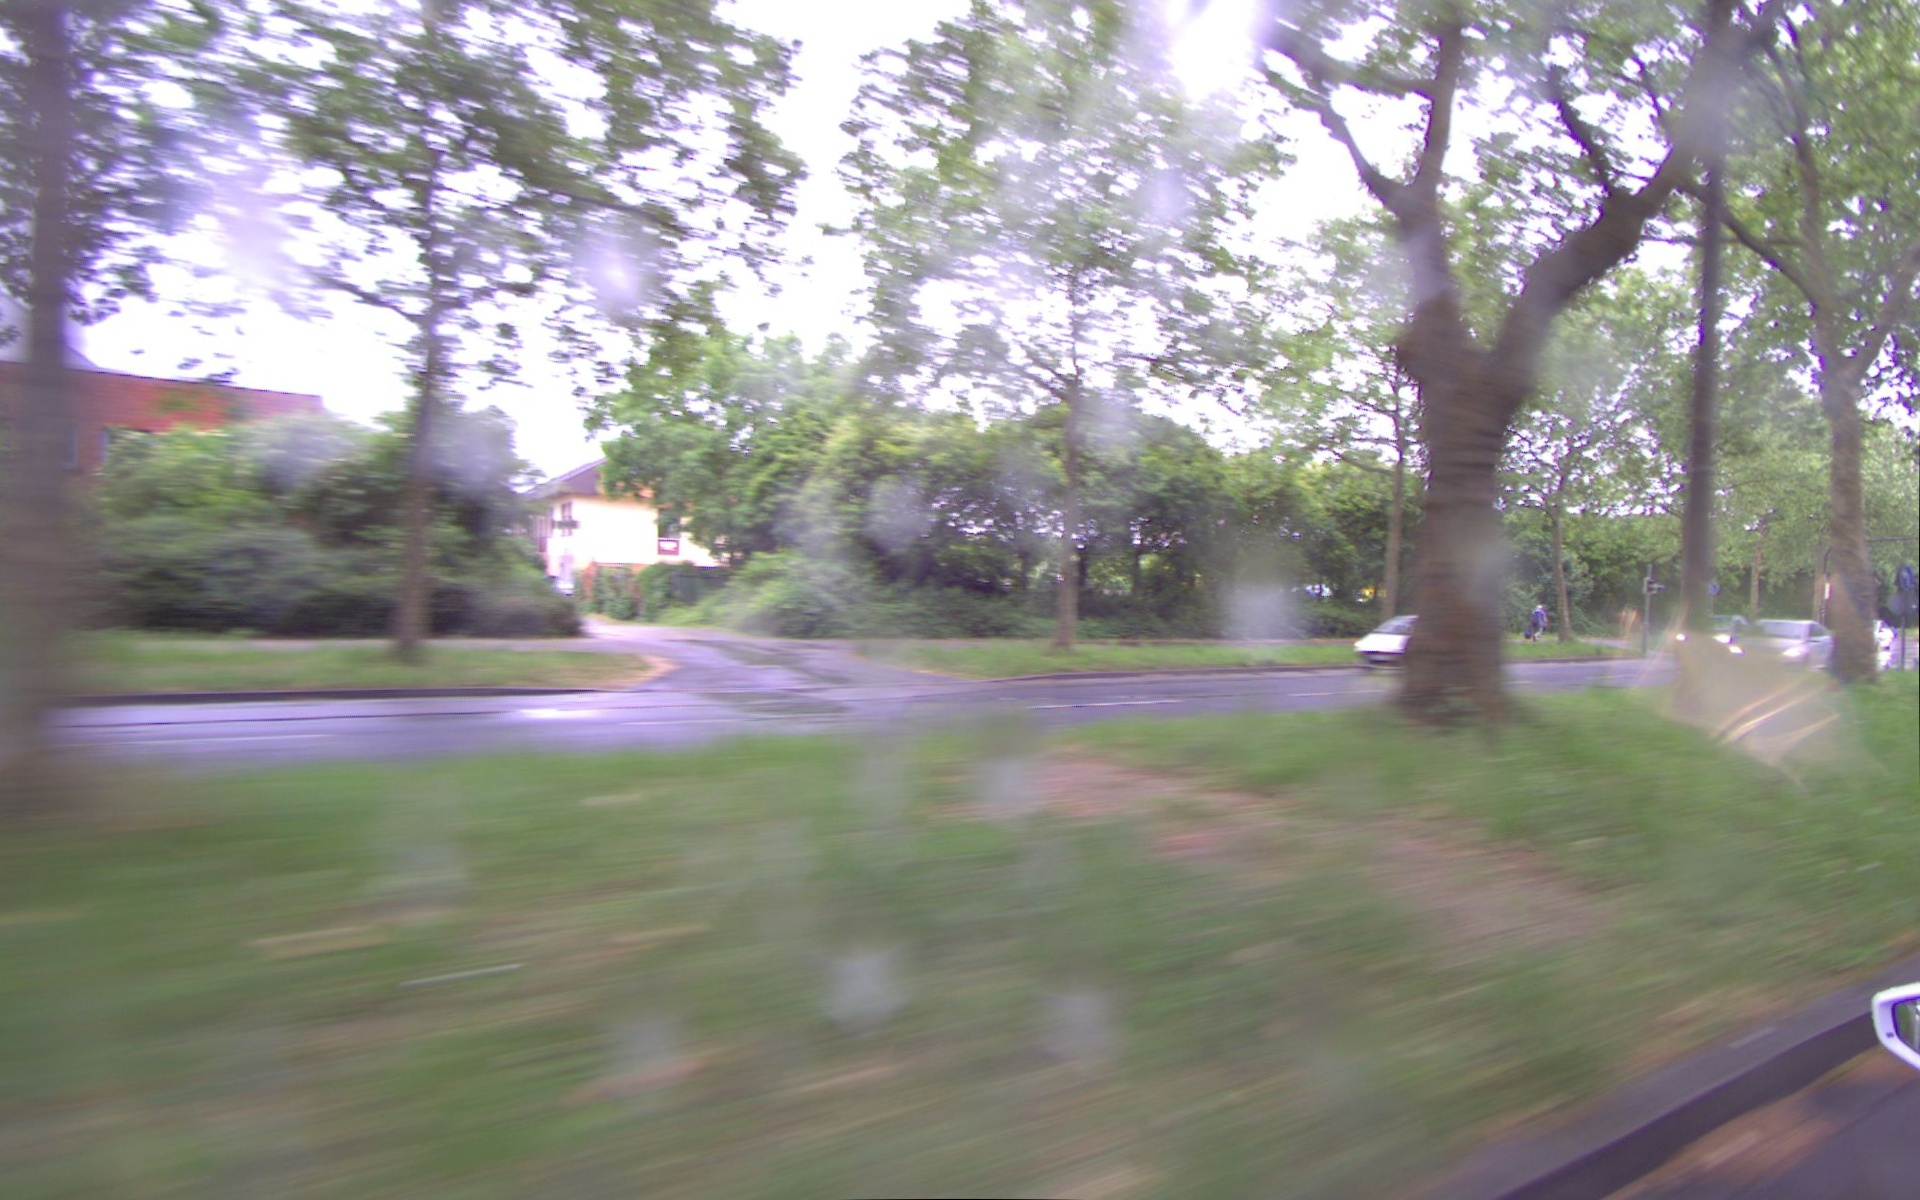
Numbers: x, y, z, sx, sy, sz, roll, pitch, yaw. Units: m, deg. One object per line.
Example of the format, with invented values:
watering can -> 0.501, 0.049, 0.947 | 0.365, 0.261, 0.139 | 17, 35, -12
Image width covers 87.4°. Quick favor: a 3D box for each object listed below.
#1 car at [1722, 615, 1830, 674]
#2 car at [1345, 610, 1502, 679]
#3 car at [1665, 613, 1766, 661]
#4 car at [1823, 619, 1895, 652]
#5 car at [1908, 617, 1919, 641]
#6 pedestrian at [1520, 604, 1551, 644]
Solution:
car -> 24.589, 1.298, 30.217 | 4.295, 1.612, 1.728 | 1, 1, -41
car -> 11.329, 1.043, 24.485 | 4.044, 1.496, 1.731 | 2, 1, -37
car -> 27.728, 1.353, 36.840 | 4.168, 1.612, 1.732 | 2, 1, -35
car -> 44.926, 1.776, 50.163 | 4.192, 1.496, 1.732 | 2, 1, -35
car -> 61.455, 1.861, 63.233 | 4.192, 1.496, 1.732 | 2, 1, -35
pedestrian -> 24.982, 1.034, 43.614 | 0.891, 1.696, 0.824 | 1, 1, -37
